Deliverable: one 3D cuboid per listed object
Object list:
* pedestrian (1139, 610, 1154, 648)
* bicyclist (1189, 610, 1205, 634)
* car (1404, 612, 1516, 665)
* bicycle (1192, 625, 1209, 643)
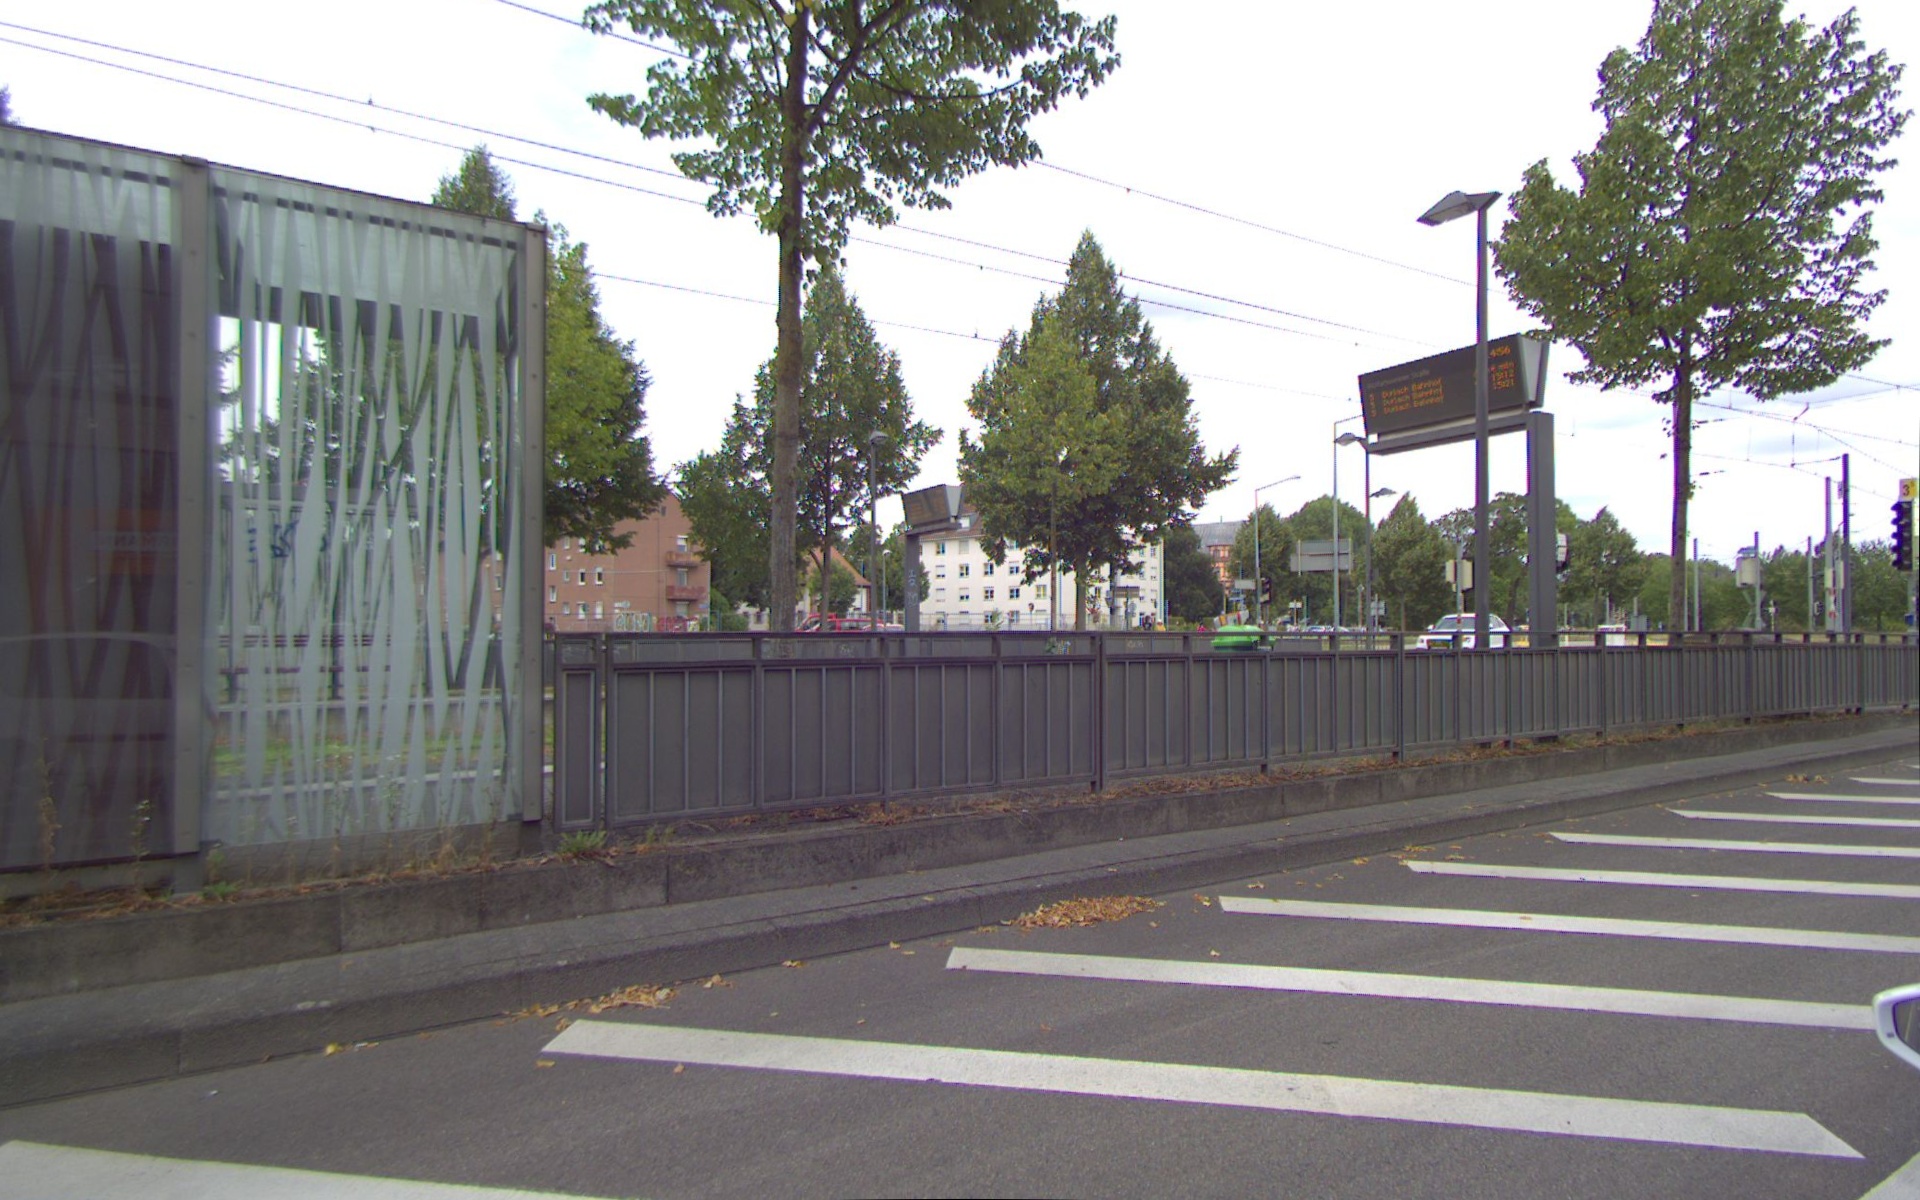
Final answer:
[{"bbox_3d":[9.379,1.454,50.517,0.637,1.874,0.491,-1,-1,22],"label":"pedestrian"},{"bbox_3d":[15.637,1.465,66.199,0.874,1.583,0.750,-1,-1,23],"label":"bicyclist"},{"bbox_3d":[16.625,1.250,33.299,4.355,1.639,1.974,1,-2,-44],"label":"car"},{"bbox_3d":[15.830,2.208,66.102,0.793,1.144,2.708,-1,-1,19],"label":"bicycle"}]
